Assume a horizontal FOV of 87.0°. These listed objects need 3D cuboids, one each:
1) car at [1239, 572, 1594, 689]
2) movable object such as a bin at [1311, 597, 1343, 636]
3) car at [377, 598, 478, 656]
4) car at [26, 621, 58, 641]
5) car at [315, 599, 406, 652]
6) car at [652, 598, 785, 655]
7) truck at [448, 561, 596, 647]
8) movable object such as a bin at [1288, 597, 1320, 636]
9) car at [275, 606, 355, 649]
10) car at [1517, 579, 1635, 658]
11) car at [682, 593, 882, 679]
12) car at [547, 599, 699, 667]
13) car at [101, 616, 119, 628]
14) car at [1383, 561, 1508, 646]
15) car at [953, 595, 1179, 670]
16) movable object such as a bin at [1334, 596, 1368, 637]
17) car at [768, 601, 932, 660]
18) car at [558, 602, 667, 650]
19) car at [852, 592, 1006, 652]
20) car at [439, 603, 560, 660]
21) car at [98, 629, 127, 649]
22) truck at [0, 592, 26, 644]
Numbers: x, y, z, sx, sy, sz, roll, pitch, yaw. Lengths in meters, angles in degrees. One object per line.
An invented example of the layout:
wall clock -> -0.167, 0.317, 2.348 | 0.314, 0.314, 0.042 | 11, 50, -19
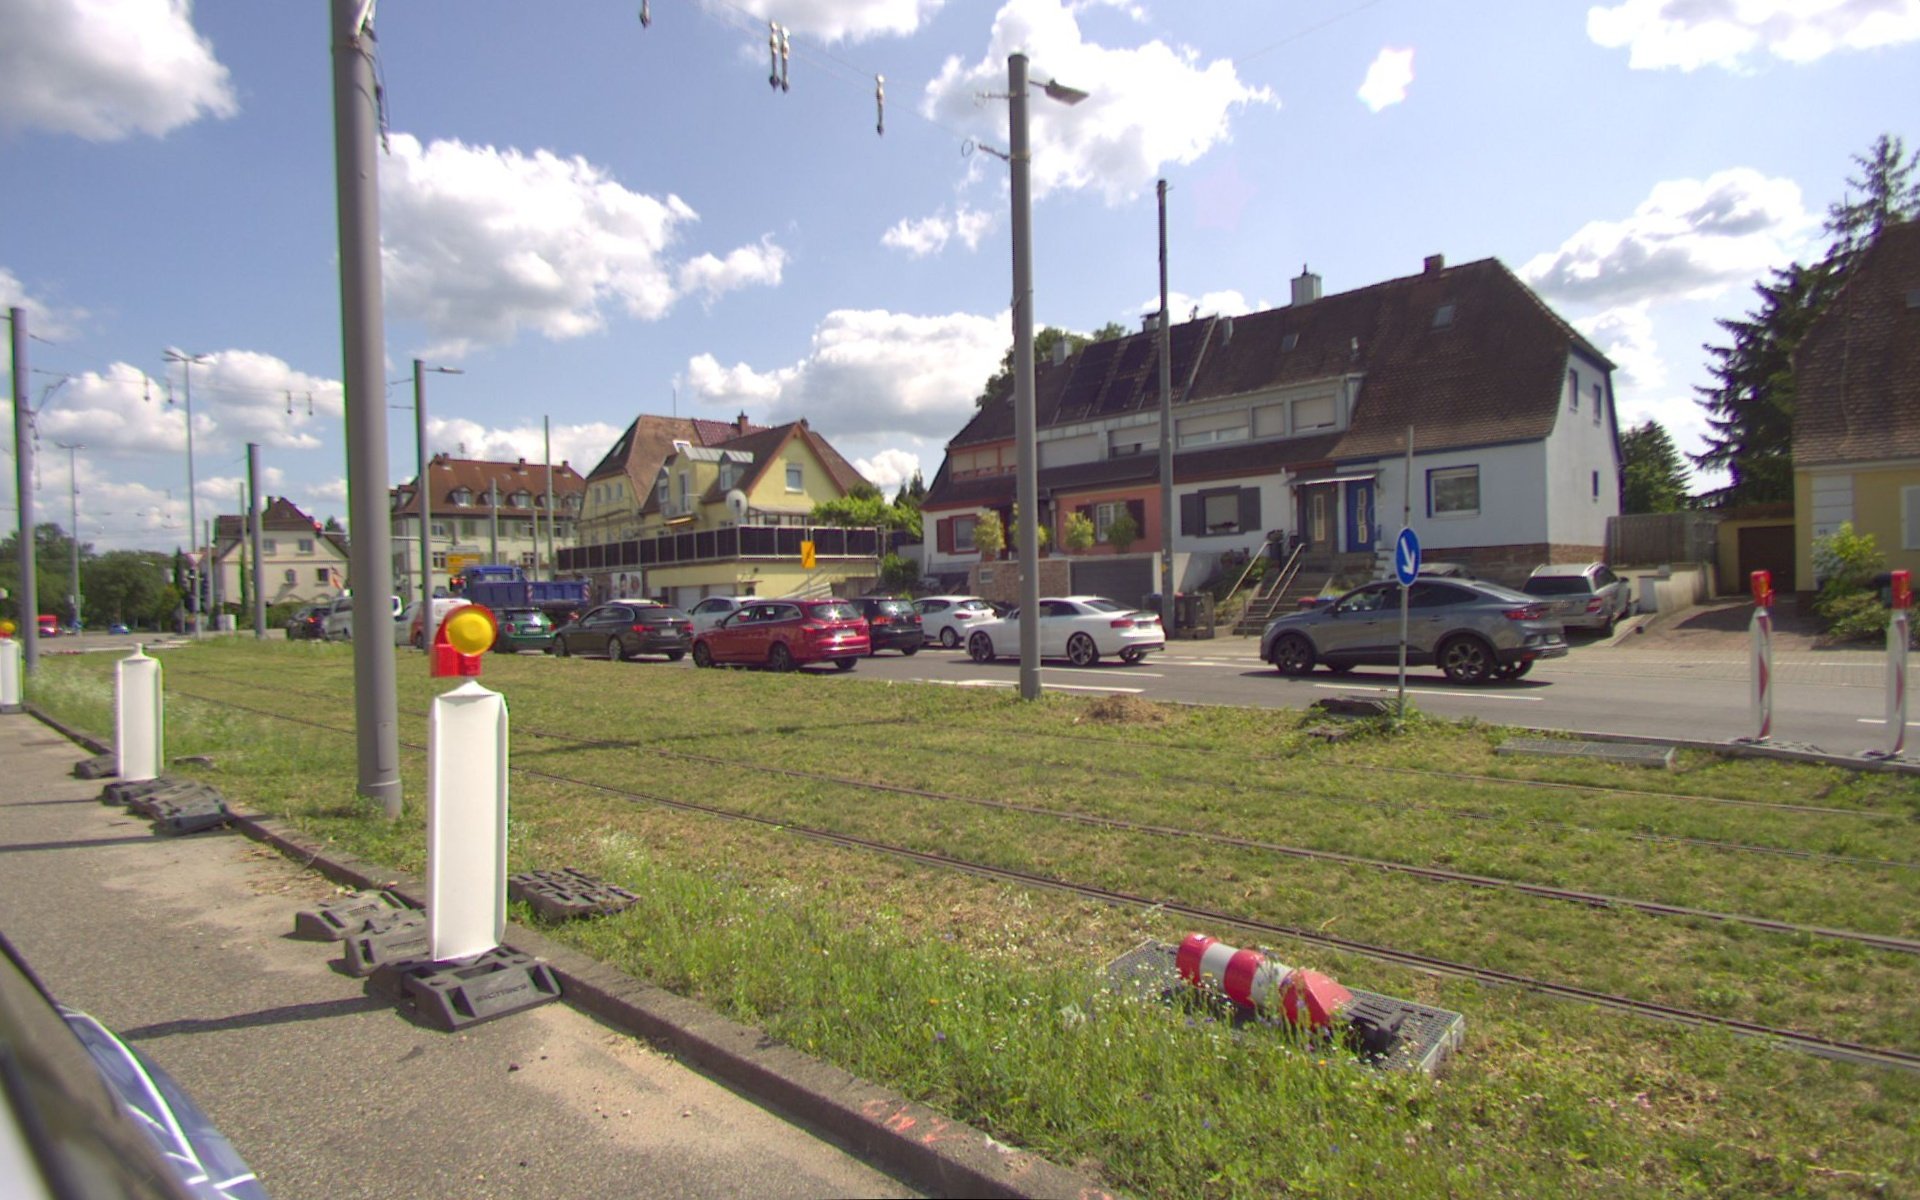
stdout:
car -> 6.928, 0.433, 15.836 | 1.704, 1.538, 4.777 | -2, 0, -41
movable object such as a bin -> 9.050, 0.407, 24.957 | 0.582, 0.959, 0.511 | -2, 0, 41
car -> -18.790, 0.944, 35.605 | 4.541, 1.868, 1.707 | -2, 0, 43
car -> -90.860, 3.077, 100.216 | 2.252, 1.887, 4.991 | -2, 0, -42
car -> -24.196, 1.029, 40.778 | 4.541, 1.979, 1.897 | -2, 0, 43
car -> -7.420, 0.797, 30.845 | 4.542, 1.574, 1.706 | -2, 0, 44
truck -> -17.981, 0.178, 41.216 | 2.803, 3.178, 7.939 | -2, 0, -44
movable object such as a bin -> 8.617, 0.420, 25.346 | 0.582, 0.959, 0.511 | -2, 0, 41
car -> -28.916, 1.227, 45.303 | 4.541, 1.794, 1.897 | -2, 0, 43
car -> 13.615, 0.361, 22.283 | 1.680, 1.567, 3.840 | -2, 0, 39
car -> -3.801, 0.707, 21.062 | 4.542, 1.574, 1.706 | -2, 0, 44
car -> -8.719, 0.819, 25.963 | 4.645, 1.574, 1.706 | -2, 0, 44
car -> -122.651, 3.134, 146.028 | 1.698, 1.603, 4.175 | -2, 0, -45
car -> 11.641, 0.054, 24.147 | 1.800, 1.859, 3.948 | -2, 0, 39
car -> 2.065, 0.637, 20.795 | 1.705, 1.345, 4.545 | -2, 0, -44
movable object such as a bin -> 9.495, 0.403, 24.557 | 0.610, 0.959, 0.511 | -2, 0, 41
car -> -2.903, 0.750, 25.838 | 1.705, 1.345, 4.545 | -2, 0, -44
car -> -12.397, 0.910, 35.968 | 4.541, 1.574, 1.707 | -2, 0, 43
car -> -0.968, 0.633, 29.211 | 4.542, 1.574, 1.706 | -2, 0, 44
car -> -14.105, 0.946, 30.878 | 4.541, 1.574, 1.707 | -2, 0, 43
car -> -88.451, 4.050, 105.706 | 2.250, 1.887, 4.993 | -2, 0, -40
truck -> -102.489, 1.982, 108.390 | 3.426, 5.223, 14.233 | -2, 0, -42
